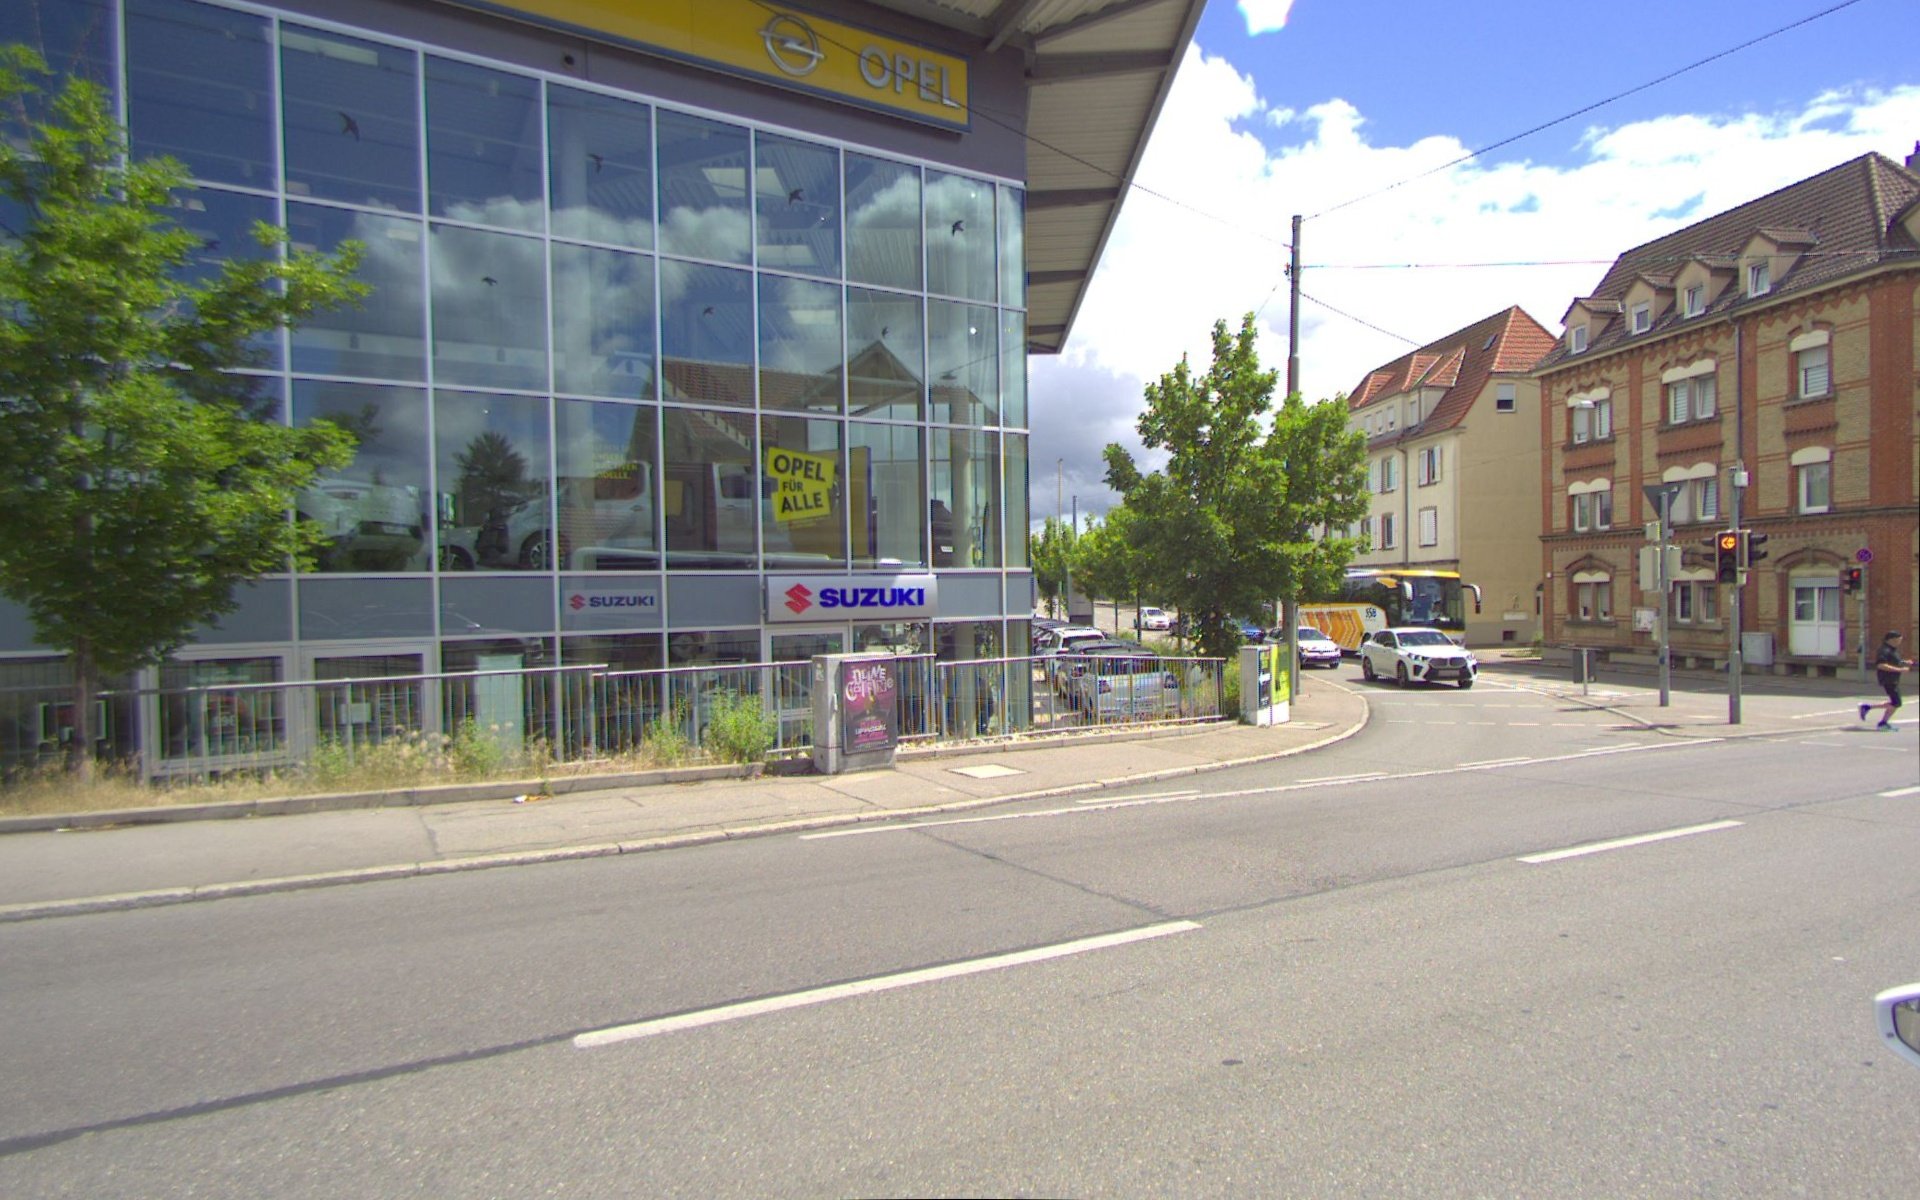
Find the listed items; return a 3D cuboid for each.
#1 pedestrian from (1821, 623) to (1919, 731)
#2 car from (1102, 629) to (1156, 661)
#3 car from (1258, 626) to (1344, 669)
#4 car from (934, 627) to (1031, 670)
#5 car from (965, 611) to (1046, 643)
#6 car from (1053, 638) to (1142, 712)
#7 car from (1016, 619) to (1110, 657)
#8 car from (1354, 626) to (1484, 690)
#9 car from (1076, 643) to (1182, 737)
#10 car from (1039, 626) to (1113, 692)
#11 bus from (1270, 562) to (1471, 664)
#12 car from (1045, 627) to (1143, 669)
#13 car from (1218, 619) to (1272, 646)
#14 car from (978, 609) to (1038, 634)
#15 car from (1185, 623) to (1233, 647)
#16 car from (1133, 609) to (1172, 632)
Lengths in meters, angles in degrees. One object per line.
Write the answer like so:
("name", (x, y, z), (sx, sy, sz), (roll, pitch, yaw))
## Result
("pedestrian", (15.530, 1.277, 17.129), (0.751, 1.757, 1.133), (1, -1, -34))
("car", (8.164, 2.147, 48.816), (1.766, 1.467, 3.498), (1, -1, -5))
("car", (12.296, 1.675, 36.452), (1.847, 1.437, 3.621), (1, -1, 0))
("car", (0.805, 1.755, 36.897), (3.432, 1.467, 1.799), (-1, 0, -3))
("car", (2.358, 1.406, 52.788), (3.930, 1.574, 1.804), (1, -1, -12))
("car", (3.303, 1.768, 24.610), (1.584, 1.547, 3.499), (-1, 0, -2))
("car", (4.591, 1.692, 45.088), (3.925, 1.574, 1.806), (1, -1, -7))
("car", (12.760, 1.559, 28.240), (1.797, 1.572, 4.308), (-3, -1, 3))
("car", (3.336, 1.749, 20.362), (1.648, 1.582, 3.365), (-1, 0, 1))
("car", (3.304, 1.651, 29.132), (1.620, 1.703, 3.499), (-1, 0, -2))
("bus", (16.831, 0.551, 42.682), (2.718, 3.670, 12.257), (1, -1, -4))
("car", (4.953, 1.766, 37.415), (3.430, 1.497, 1.800), (1, -1, 1))
("car", (15.748, 1.781, 55.657), (1.717, 1.428, 3.999), (1, -1, -3))
("car", (3.221, 1.434, 67.508), (3.922, 1.574, 1.807), (1, -1, -1))
("car", (15.626, 2.169, 63.231), (1.874, 1.428, 3.999), (1, -1, -2))
("car", (13.661, 1.434, 71.484), (1.874, 1.574, 3.999), (1, -1, -2))
